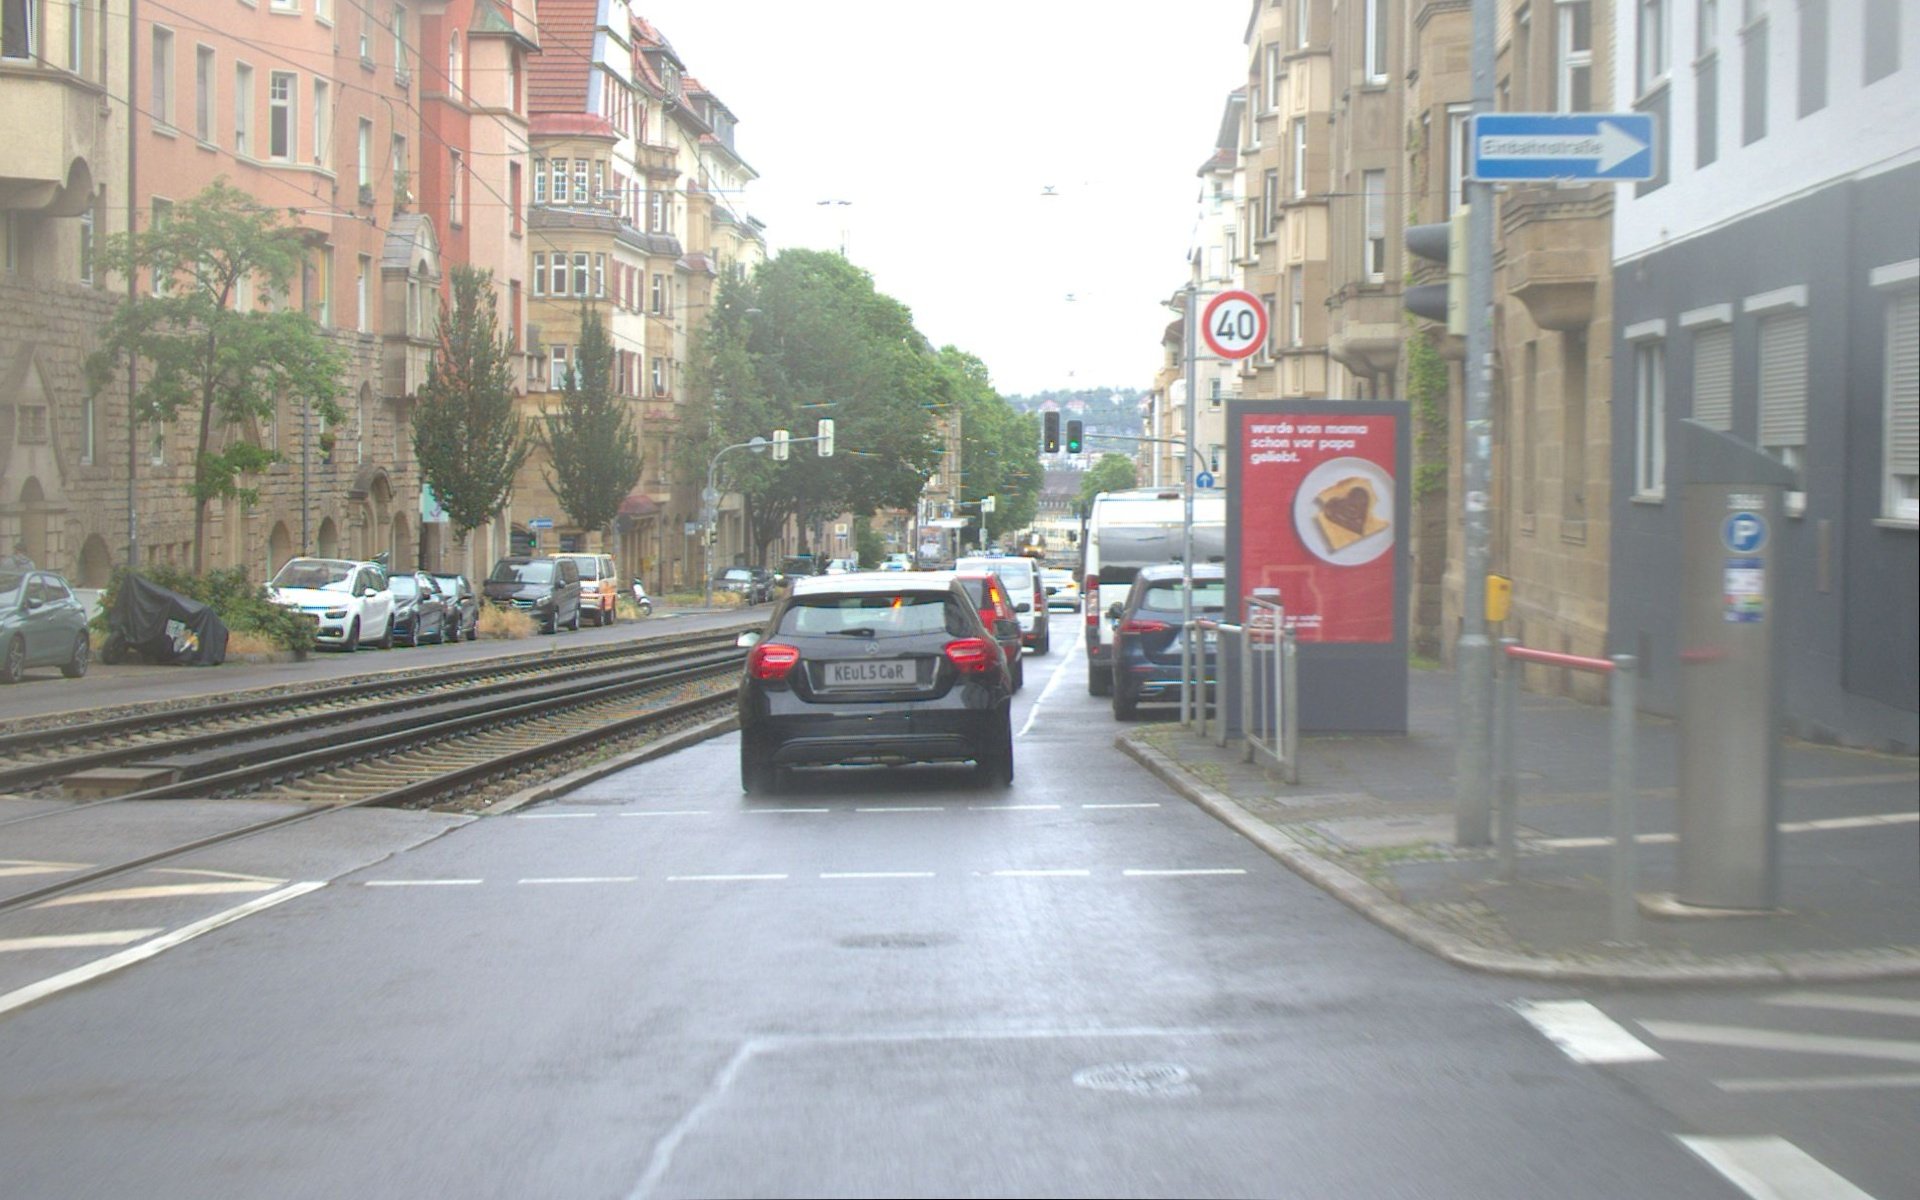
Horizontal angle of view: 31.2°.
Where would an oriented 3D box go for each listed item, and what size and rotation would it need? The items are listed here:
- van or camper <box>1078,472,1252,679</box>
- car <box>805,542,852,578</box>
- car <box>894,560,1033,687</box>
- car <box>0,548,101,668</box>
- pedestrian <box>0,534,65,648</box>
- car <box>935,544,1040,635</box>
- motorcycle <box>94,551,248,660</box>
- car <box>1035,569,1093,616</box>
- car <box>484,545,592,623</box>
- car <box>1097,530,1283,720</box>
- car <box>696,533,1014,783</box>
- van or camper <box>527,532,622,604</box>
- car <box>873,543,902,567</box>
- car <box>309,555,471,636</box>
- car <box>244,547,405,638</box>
[{"bbox_3d":[2.592,-0.306,43.881,2.064,2.460,6.118,0,0,3],"label":"van or camper"},{"bbox_3d":[-6.710,-2.067,175.628,1.994,1.787,4.000,1,1,3],"label":"car"},{"bbox_3d":[0.081,0.260,43.658,1.536,1.505,4.000,1,1,3],"label":"car"},{"bbox_3d":[-12.517,0.074,44.513,1.561,1.433,4.146,0,1,3],"label":"car"},{"bbox_3d":[-14.603,-0.148,53.569,1.007,1.747,0.924,1,0,4],"label":"pedestrian"},{"bbox_3d":[0.508,-0.227,66.313,1.921,1.649,4.000,0,1,-1],"label":"car"},{"bbox_3d":[-12.063,0.083,52.558,2.258,1.637,1.293,0,0,-14],"label":"motorcycle"},{"bbox_3d":[3.578,-0.236,117.661,1.902,1.588,4.000,0,0,3],"label":"car"},{"bbox_3d":[-10.519,-0.421,86.010,1.993,1.895,4.699,0,1,1],"label":"car"},{"bbox_3d":[2.322,0.213,35.397,1.769,1.802,4.482,1,1,3],"label":"car"},{"bbox_3d":[-0.633,0.360,23.393,1.946,1.559,3.642,0,0,2],"label":"car"},{"bbox_3d":[-10.452,-0.892,93.412,1.993,1.895,4.699,0,1,1],"label":"van or camper"},{"bbox_3d":[-4.734,-2.935,224.684,1.795,1.543,4.000,1,0,-1],"label":"car"},{"bbox_3d":[-11.399,-0.123,69.089,1.994,1.504,4.973,2,1,5],"label":"car"},{"bbox_3d":[-11.598,-0.146,63.004,1.785,1.584,4.350,-1,0,5],"label":"car"}]
